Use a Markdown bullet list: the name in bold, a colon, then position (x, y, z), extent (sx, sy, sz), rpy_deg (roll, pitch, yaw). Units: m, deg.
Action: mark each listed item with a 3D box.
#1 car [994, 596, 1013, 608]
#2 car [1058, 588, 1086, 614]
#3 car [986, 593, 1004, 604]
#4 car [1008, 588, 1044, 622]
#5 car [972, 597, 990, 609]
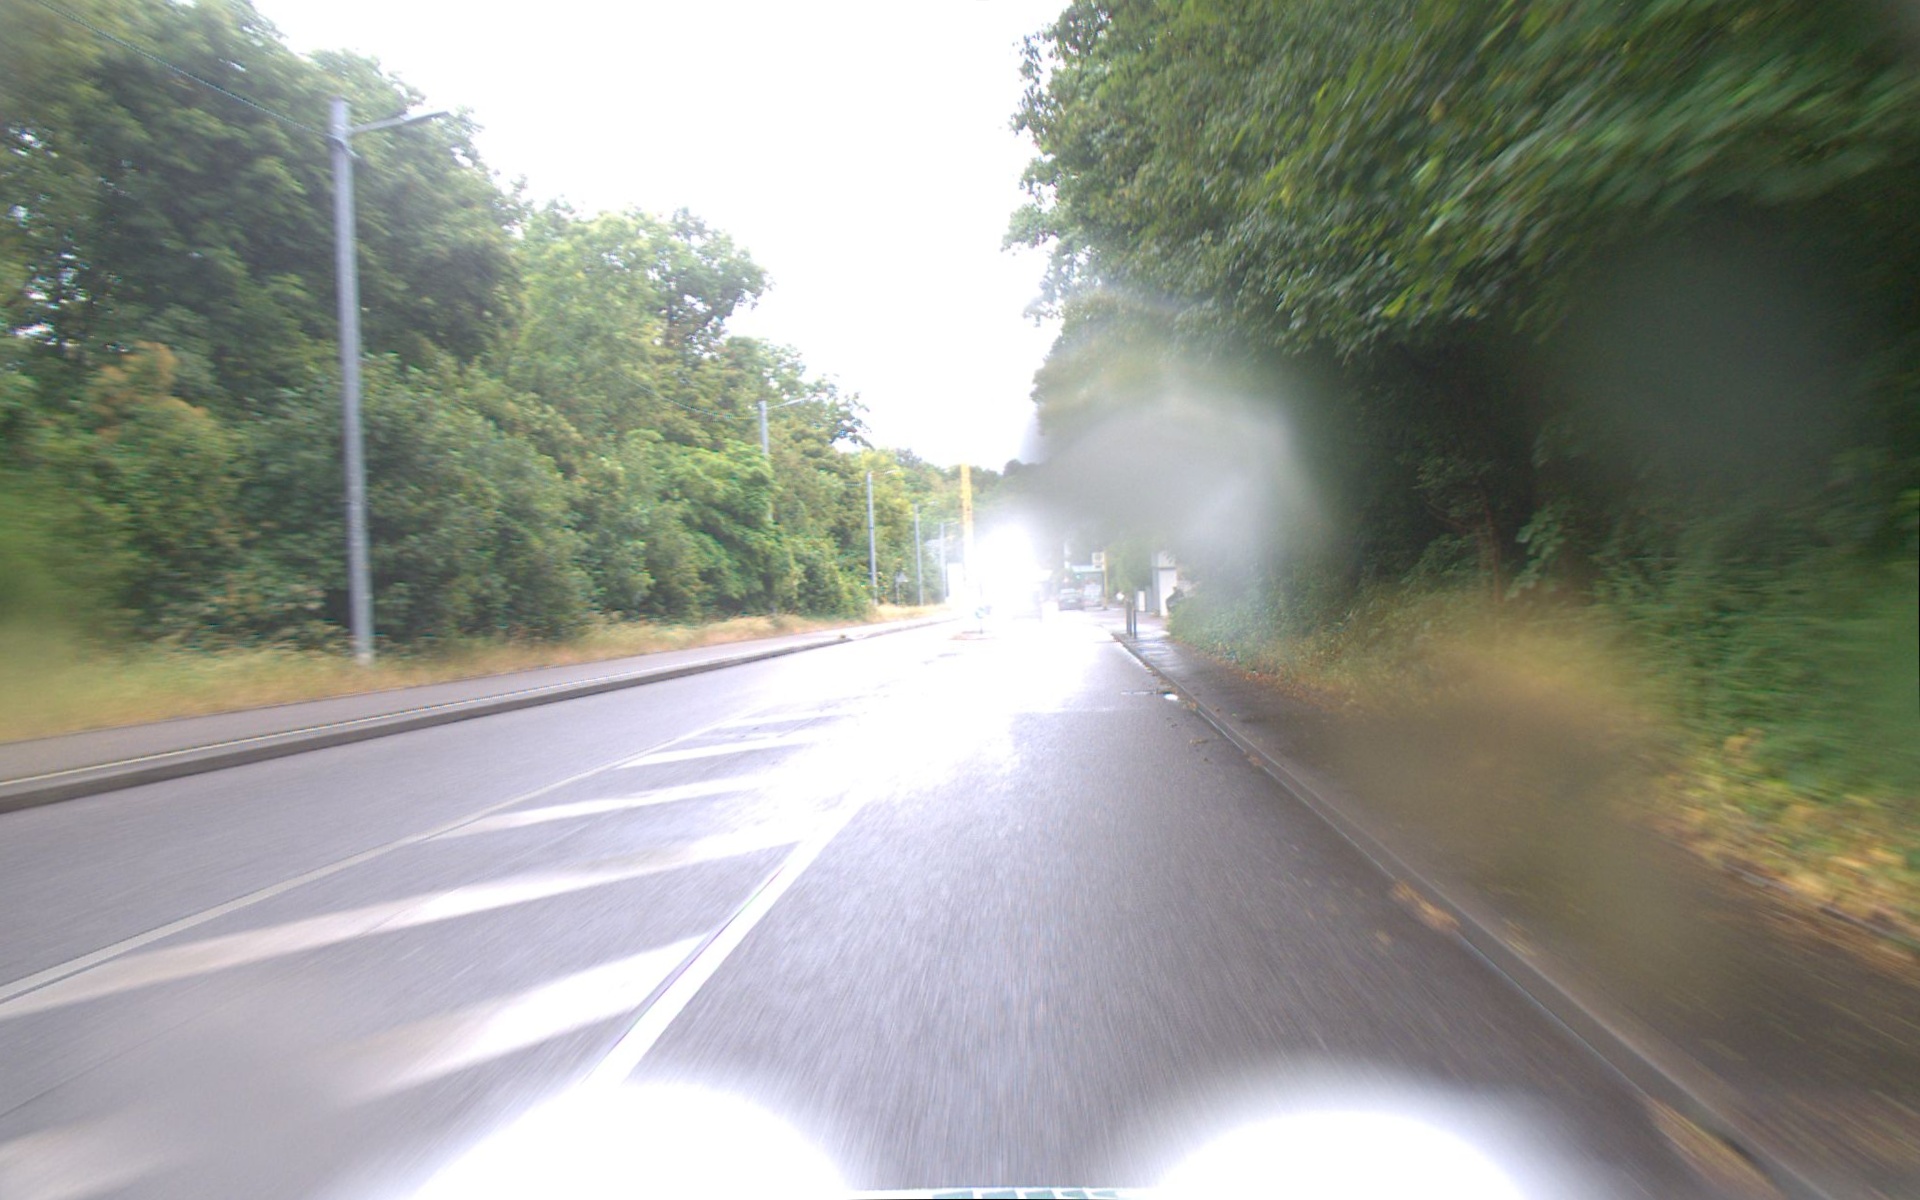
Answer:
- **car**: position (5.783, 0.313, 220.387), extent (1.708, 1.579, 3.847), rpy_deg (-2, 0, -10)
- **car**: position (7.815, 0.072, 115.272), extent (1.951, 1.803, 4.116), rpy_deg (0, 0, 4)
- **car**: position (4.790, -0.206, 225.499), extent (1.708, 1.579, 3.847), rpy_deg (0, 0, -10)
- **car**: position (3.266, 0.235, 80.926), extent (1.632, 1.621, 3.685), rpy_deg (0, 0, 4)
- **car**: position (2.947, 0.405, 232.820), extent (1.708, 1.579, 3.847), rpy_deg (-2, 0, -10)
